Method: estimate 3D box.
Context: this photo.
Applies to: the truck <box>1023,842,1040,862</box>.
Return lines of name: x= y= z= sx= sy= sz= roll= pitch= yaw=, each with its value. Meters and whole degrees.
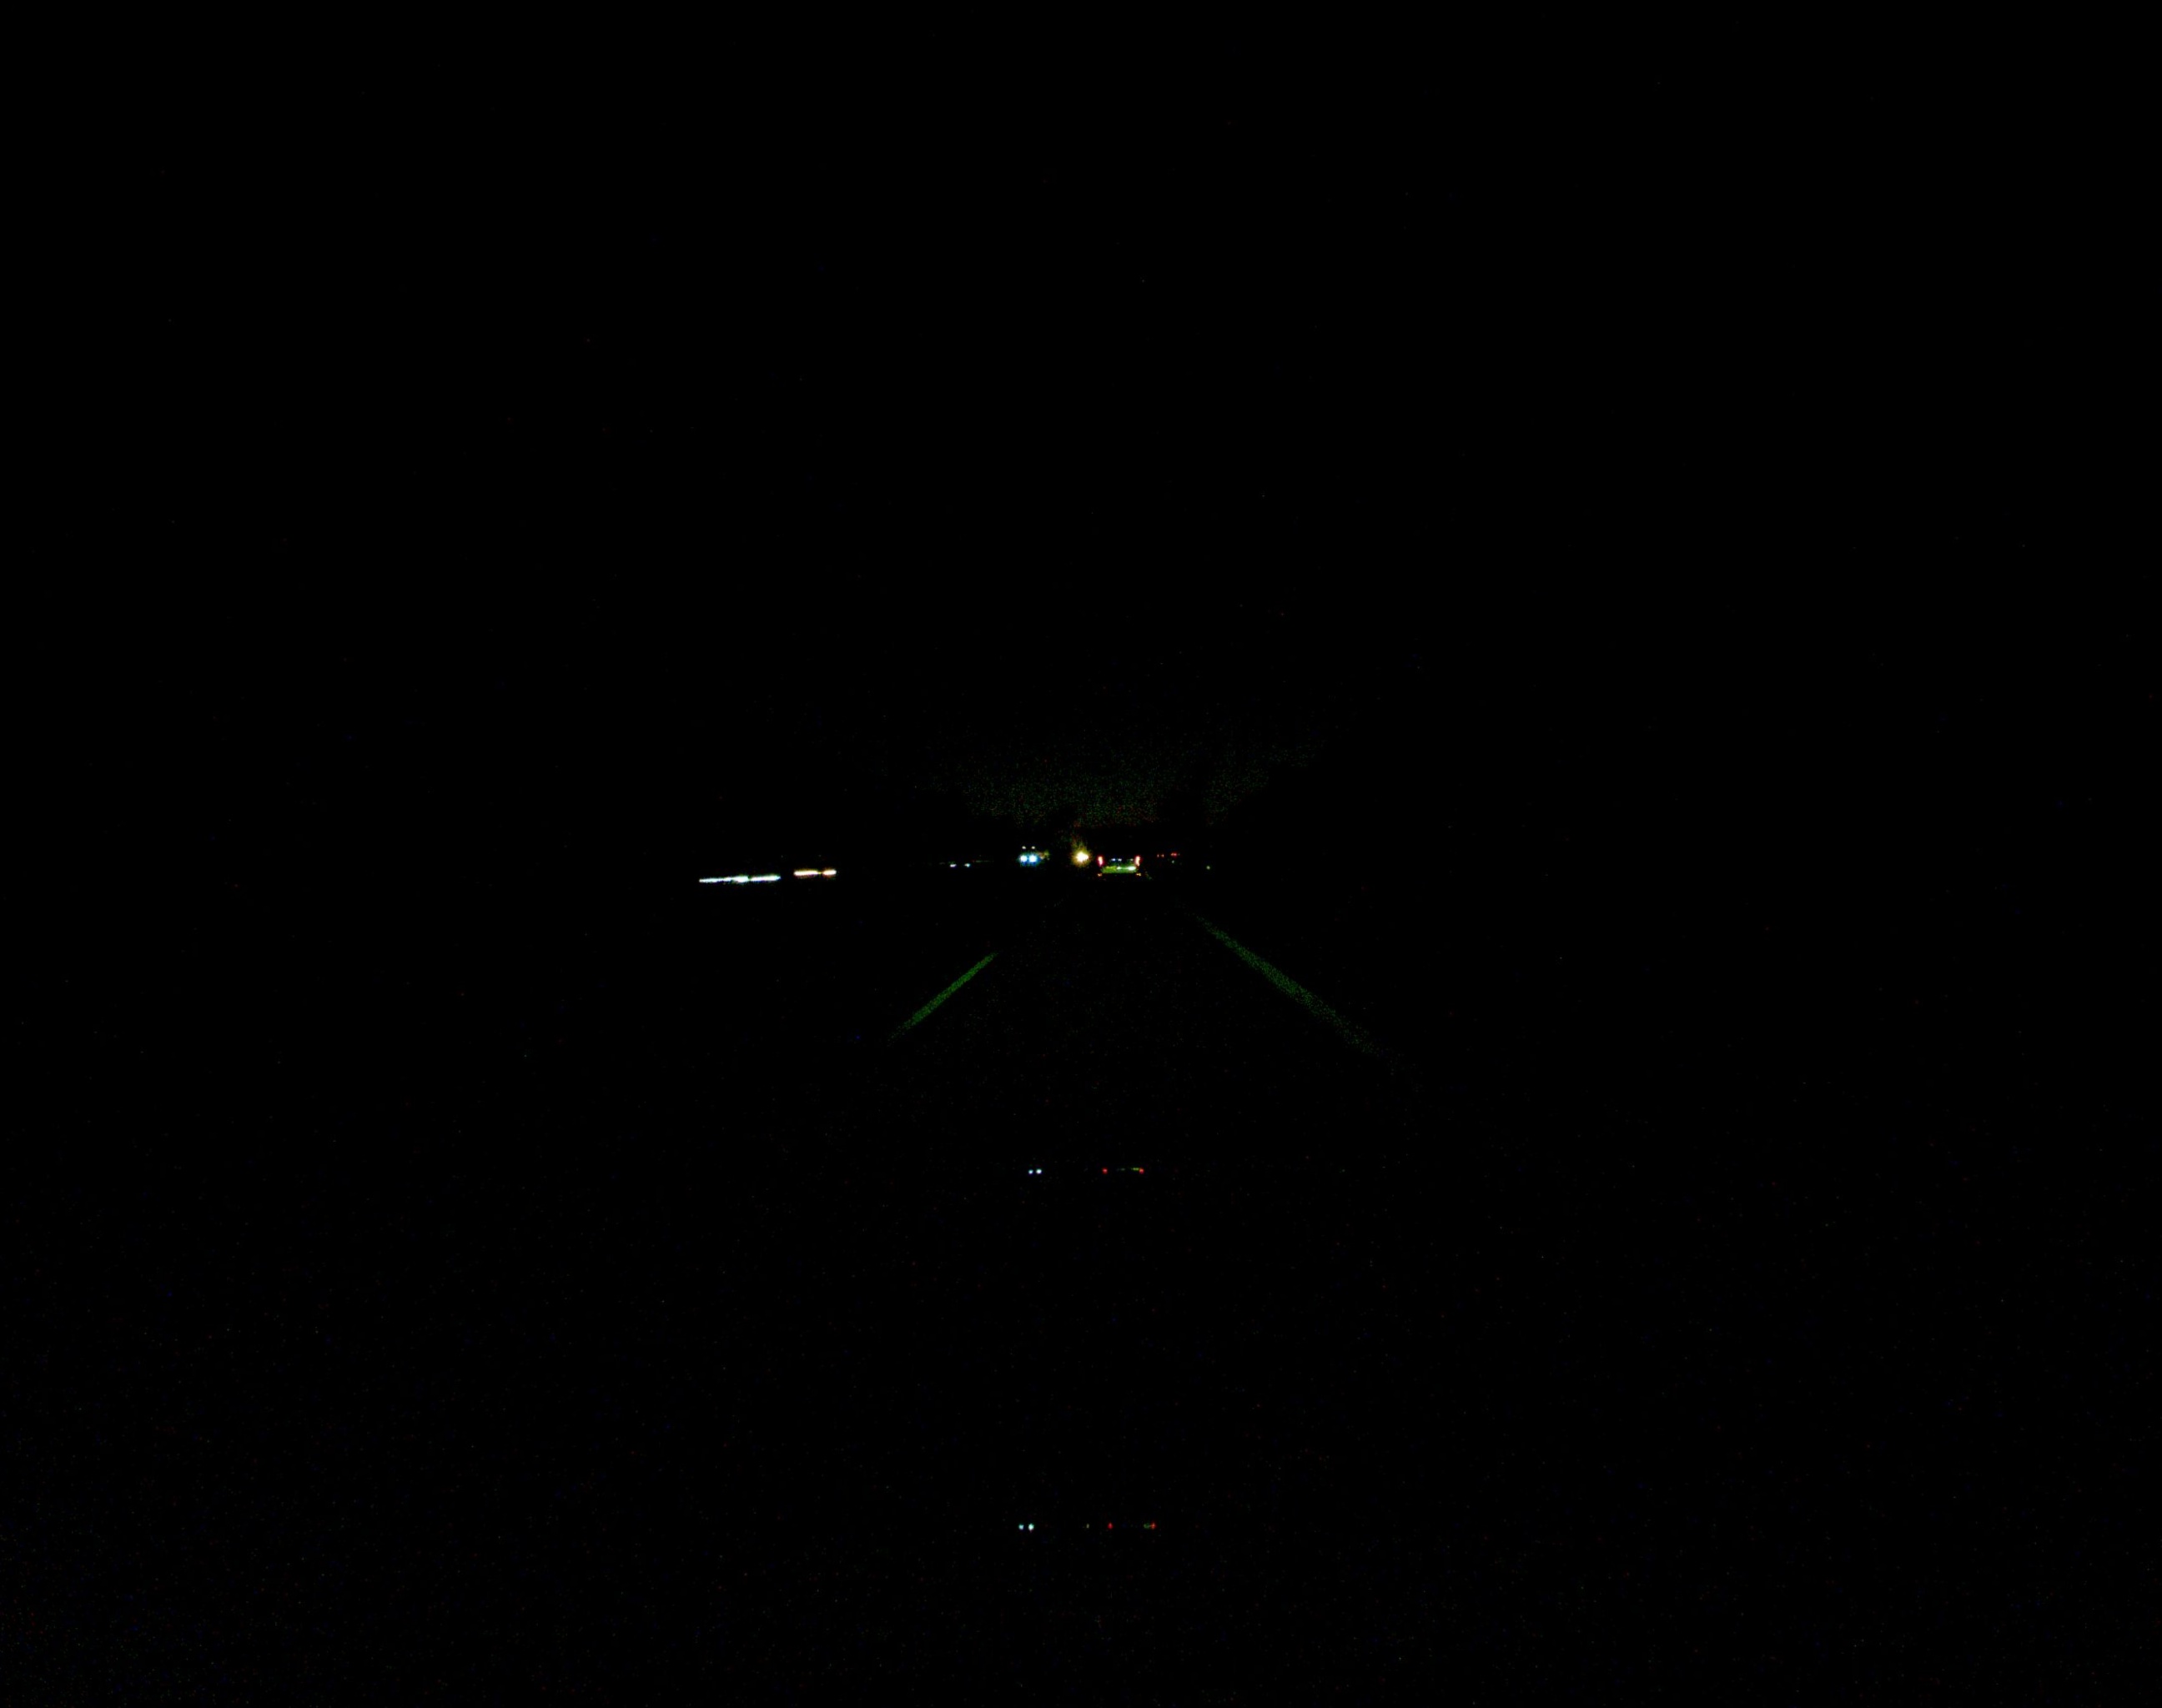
truck: x=-10.245 y=-0.363 z=168.818 sx=2.701 sy=4.199 sz=5.428 roll=-1 pitch=-1 yaw=5

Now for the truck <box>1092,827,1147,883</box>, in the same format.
truck: x=2.176 y=0.100 z=43.363 sx=2.618 sy=2.624 sz=8.694 roll=-1 pitch=-1 yaw=4

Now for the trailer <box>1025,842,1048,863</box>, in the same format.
trailer: x=-9.532 y=-0.259 z=176.664 sx=2.676 sy=4.218 sz=17.276 roll=-1 pitch=-1 yaw=5

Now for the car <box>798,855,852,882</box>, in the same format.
car: x=-16.758 y=0.952 z=53.571 sx=1.985 sy=1.650 sz=4.402 roll=-1 pitch=-1 yaw=3

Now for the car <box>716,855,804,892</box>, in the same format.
car: x=-13.782 y=0.813 z=35.258 sx=1.985 sy=1.468 sz=4.211 roll=-1 pitch=-1 yaw=3
